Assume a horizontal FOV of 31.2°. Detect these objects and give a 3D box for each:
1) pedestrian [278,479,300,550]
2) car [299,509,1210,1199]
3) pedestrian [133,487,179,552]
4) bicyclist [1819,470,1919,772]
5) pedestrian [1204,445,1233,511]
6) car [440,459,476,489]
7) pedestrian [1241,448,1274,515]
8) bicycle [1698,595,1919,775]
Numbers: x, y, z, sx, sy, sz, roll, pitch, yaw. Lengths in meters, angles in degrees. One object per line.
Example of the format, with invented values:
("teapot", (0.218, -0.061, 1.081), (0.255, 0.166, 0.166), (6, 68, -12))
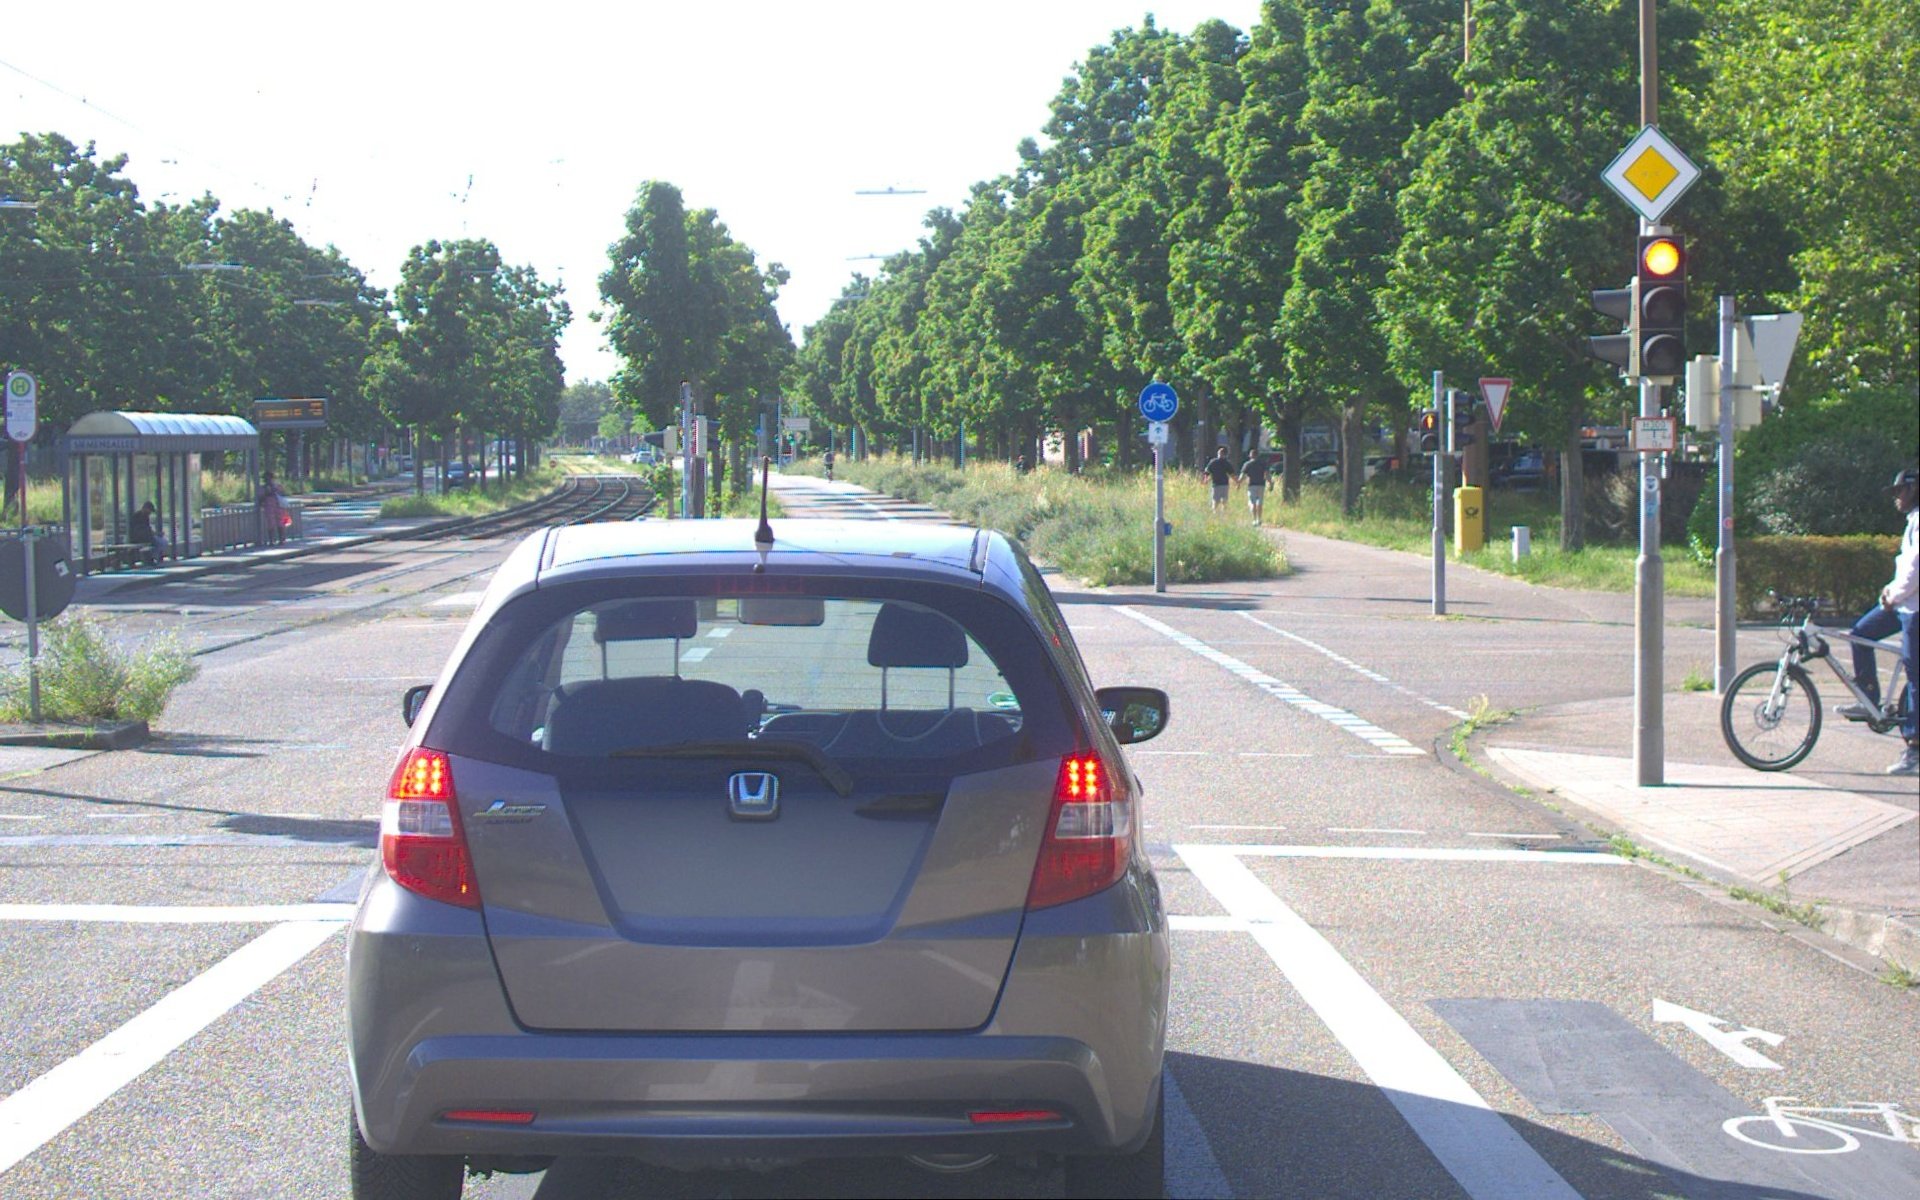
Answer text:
("pedestrian", (-15.835, -2.014, 81.079), (0.502, 1.670, 0.388), (0, 2, -12))
("car", (-0.389, 0.539, 8.490), (1.707, 1.503, 4.000), (1, 1, 0))
("pedestrian", (-15.533, -1.562, 66.457), (0.721, 1.241, 0.711), (-1, 2, -2))
("bicyclist", (5.560, 0.113, 20.206), (0.910, 1.739, 0.764), (-1, 1, 10))
("pedestrian", (6.278, -2.961, 83.542), (0.567, 1.591, 0.666), (1, 1, -4))
("car", (-29.868, -7.469, 204.643), (1.766, 1.732, 4.001), (0, 1, -3))
("pedestrian", (7.230, -2.870, 83.572), (0.678, 1.604, 0.721), (1, 1, -3))
("bicycle", (5.361, 0.486, 20.252), (1.921, 0.994, 0.764), (-2, 1, 10))
